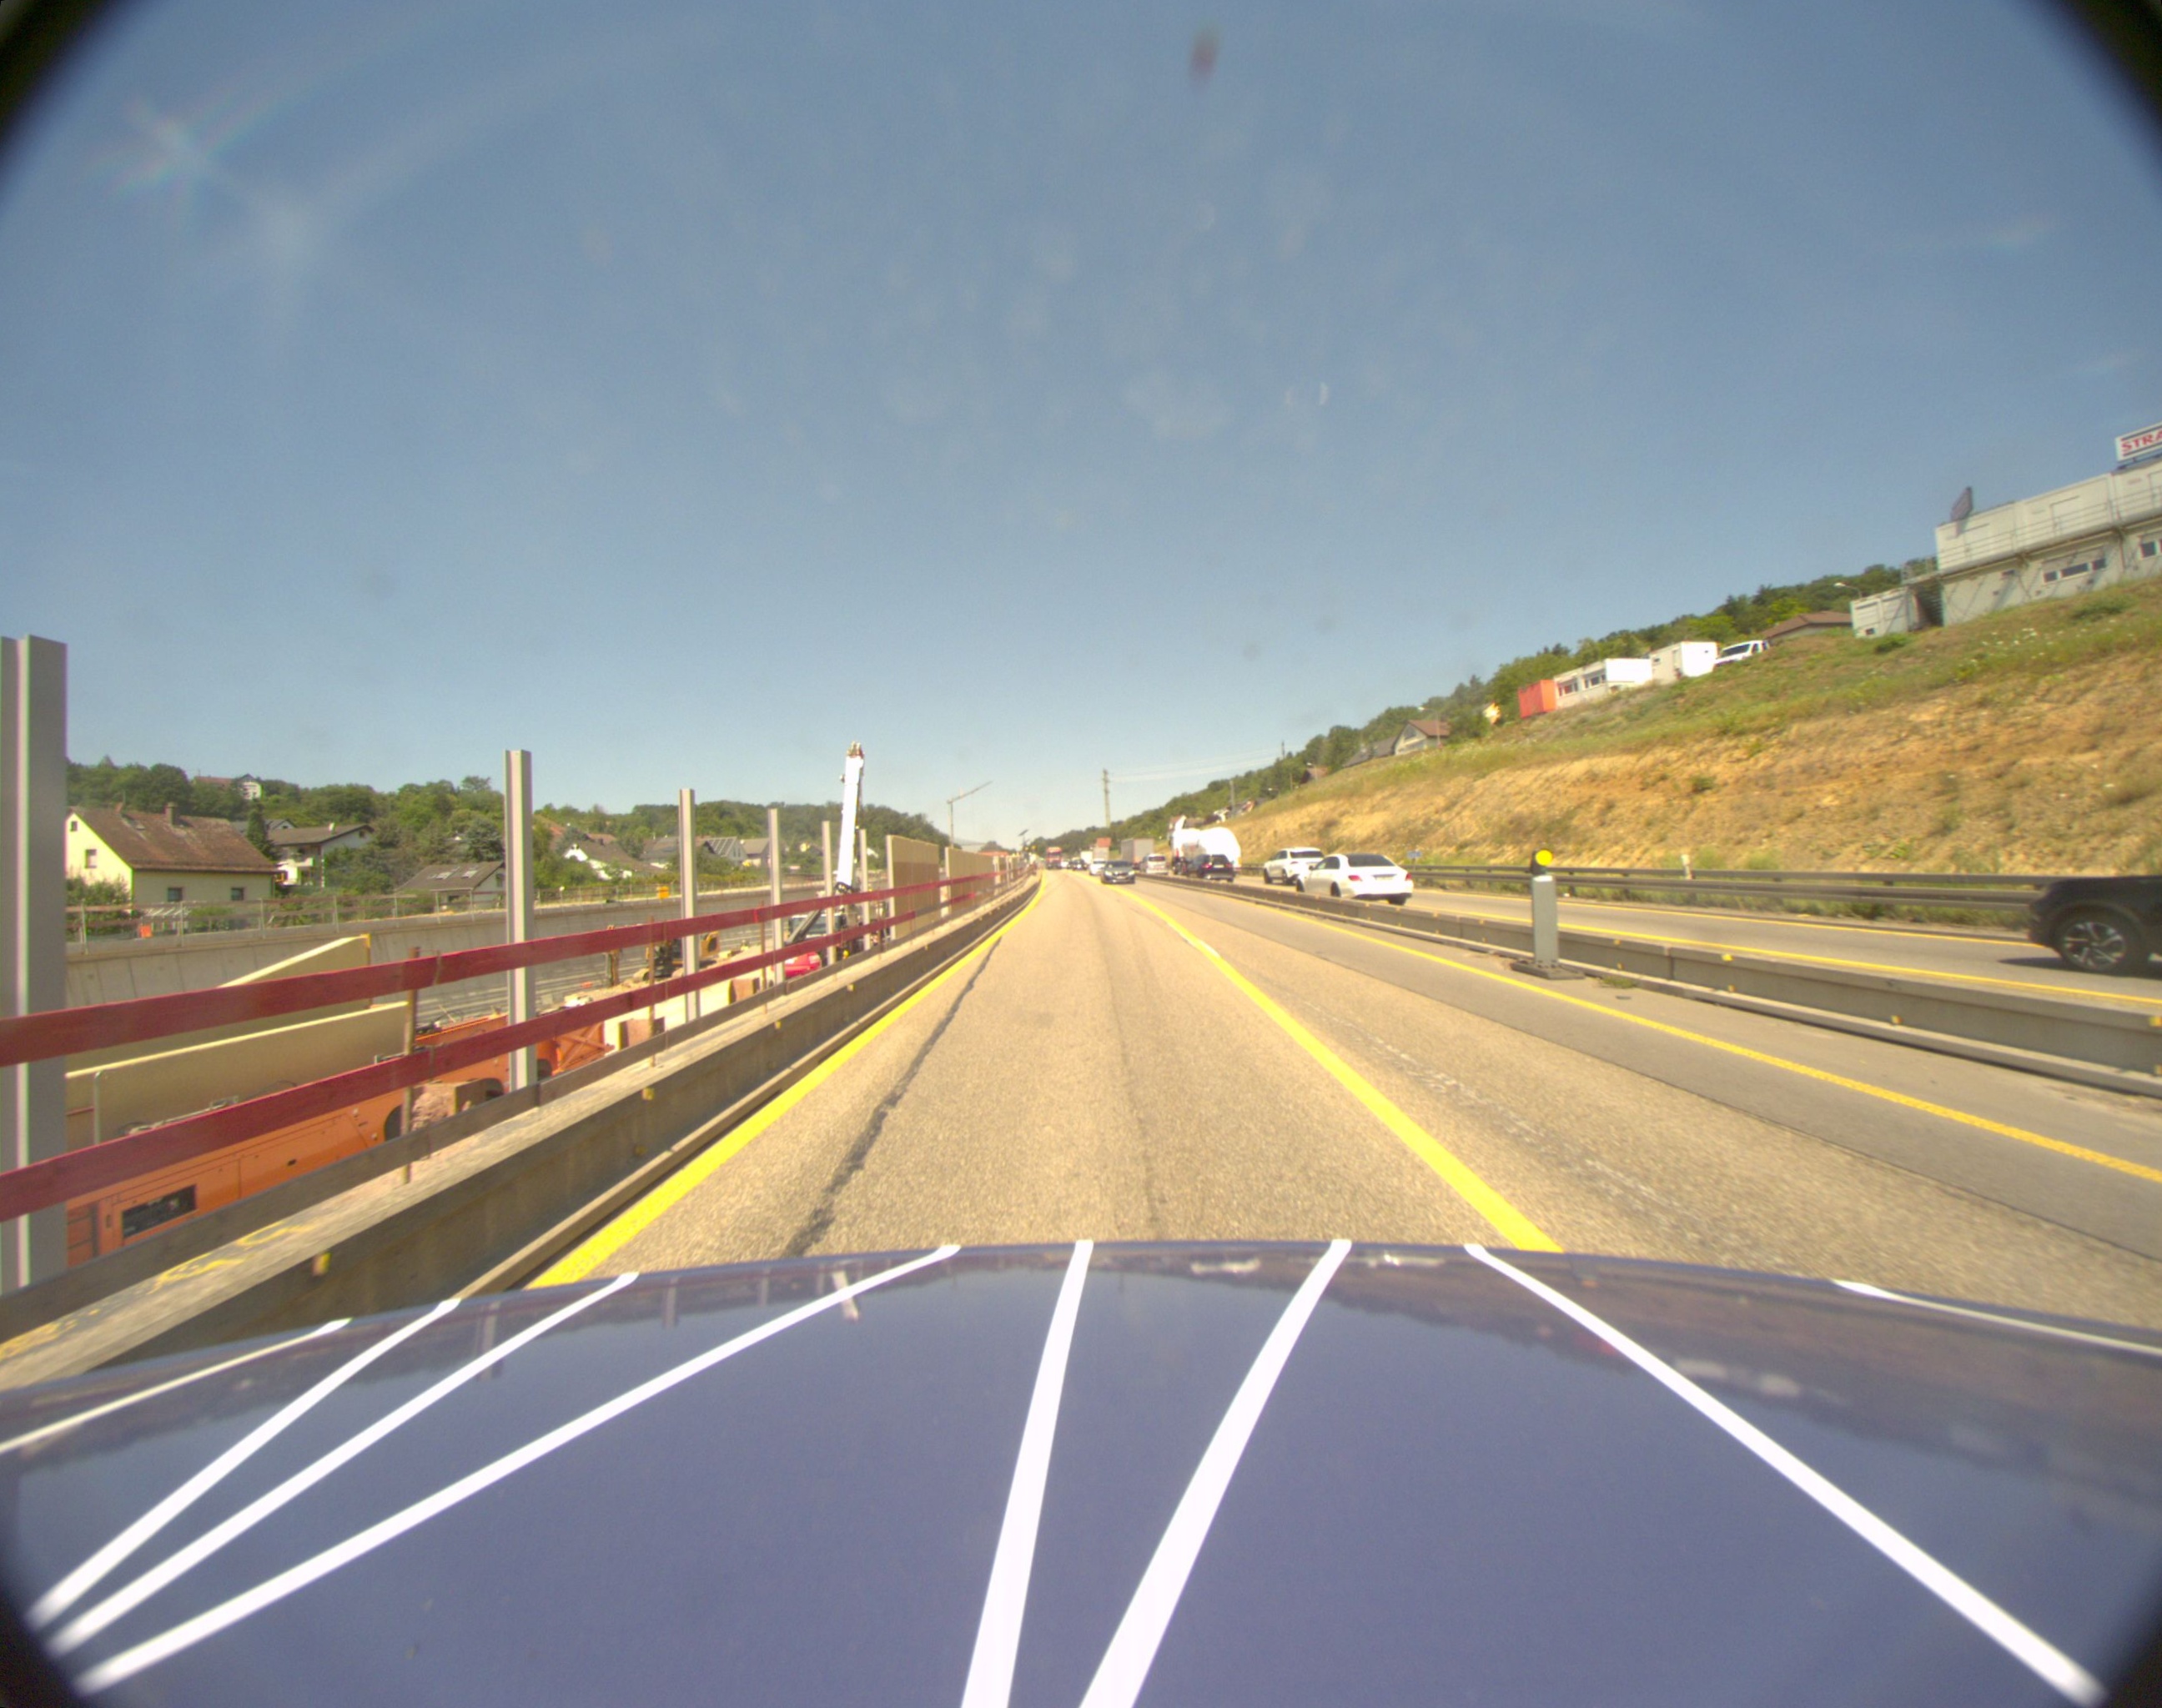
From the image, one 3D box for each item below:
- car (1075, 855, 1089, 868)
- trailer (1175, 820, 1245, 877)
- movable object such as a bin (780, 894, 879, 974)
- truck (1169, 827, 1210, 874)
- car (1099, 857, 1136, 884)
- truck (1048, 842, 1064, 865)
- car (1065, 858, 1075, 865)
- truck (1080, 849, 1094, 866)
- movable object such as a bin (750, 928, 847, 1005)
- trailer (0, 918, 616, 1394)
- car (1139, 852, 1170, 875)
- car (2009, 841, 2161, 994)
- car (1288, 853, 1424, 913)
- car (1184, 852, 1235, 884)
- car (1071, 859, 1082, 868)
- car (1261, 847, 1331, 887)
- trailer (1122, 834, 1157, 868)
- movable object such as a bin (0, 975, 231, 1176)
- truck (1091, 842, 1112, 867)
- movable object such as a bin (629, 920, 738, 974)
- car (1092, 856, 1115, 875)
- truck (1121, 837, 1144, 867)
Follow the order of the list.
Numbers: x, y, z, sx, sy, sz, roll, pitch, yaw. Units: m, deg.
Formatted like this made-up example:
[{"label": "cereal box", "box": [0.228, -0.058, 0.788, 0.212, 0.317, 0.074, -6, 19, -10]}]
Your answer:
[{"label": "car", "box": [0.086, 1.017, 106.615, 1.780, 1.727, 4.336, -2, -1, -2]}, {"label": "trailer", "box": [9.430, -0.341, 57.063, 2.597, 3.779, 11.915, -2, 0, -3]}, {"label": "movable object such as a bin", "box": [-14.214, 4.363, 43.826, 2.974, 3.467, 9.149, -4, 0, -4]}, {"label": "truck", "box": [9.101, -0.294, 63.928, 2.597, 3.779, 3.766, -2, 0, -3]}, {"label": "car", "box": [2.128, 0.991, 44.937, 1.780, 1.447, 4.336, -2, -1, -2]}, {"label": "truck", "box": [-4.538, 0.002, 138.608, 2.606, 3.703, 10.535, -2, -1, -2]}, {"label": "car", "box": [-2.285, 1.576, 157.382, 1.780, 1.486, 4.335, -2, 0, -2]}, {"label": "truck", "box": [1.190, 0.725, 157.368, 2.545, 3.354, 7.037, -2, 0, -2]}, {"label": "movable object such as a bin", "box": [-11.763, 4.621, 32.018, 2.174, 2.417, 4.820, -4, 0, -1]}, {"label": "trailer", "box": [-12.014, 3.395, 10.875, 2.766, 3.863, 13.048, -2, 0, -1]}, {"label": "car", "box": [5.835, 0.775, 60.693, 1.885, 1.734, 4.482, -1, 0, -2]}, {"label": "car", "box": [11.794, 0.627, 6.936, 1.698, 1.522, 4.000, -2, 0, -1]}, {"label": "car", "box": [7.720, 0.766, 21.929, 1.967, 1.455, 4.939, -2, 0, -2]}, {"label": "car", "box": [6.943, 0.722, 41.551, 1.795, 1.602, 4.732, -2, 0, -2]}, {"label": "car", "box": [-0.807, 1.644, 127.897, 1.780, 1.485, 4.336, -2, -1, -2]}, {"label": "car", "box": [10.258, 0.595, 36.593, 1.796, 1.752, 4.536, -1, 0, -3]}, {"label": "trailer", "box": [7.488, -0.317, 99.682, 2.705, 4.000, 13.699, -2, 0, -3]}, {"label": "movable object such as a bin", "box": [-20.567, 4.324, 14.860, 2.286, 3.006, 4.820, -4, 0, -1]}, {"label": "truck", "box": [3.166, 0.141, 119.743, 2.596, 3.736, 7.357, -2, 0, -2]}, {"label": "movable object such as a bin", "box": [-26.099, 6.042, 50.417, 3.171, 2.431, 7.893, -4, 0, -2]}, {"label": "car", "box": [2.037, 1.068, 69.920, 1.780, 1.682, 4.336, -2, -1, -2]}, {"label": "truck", "box": [7.163, -0.279, 106.398, 2.705, 4.026, 3.954, -2, 0, -3]}]
